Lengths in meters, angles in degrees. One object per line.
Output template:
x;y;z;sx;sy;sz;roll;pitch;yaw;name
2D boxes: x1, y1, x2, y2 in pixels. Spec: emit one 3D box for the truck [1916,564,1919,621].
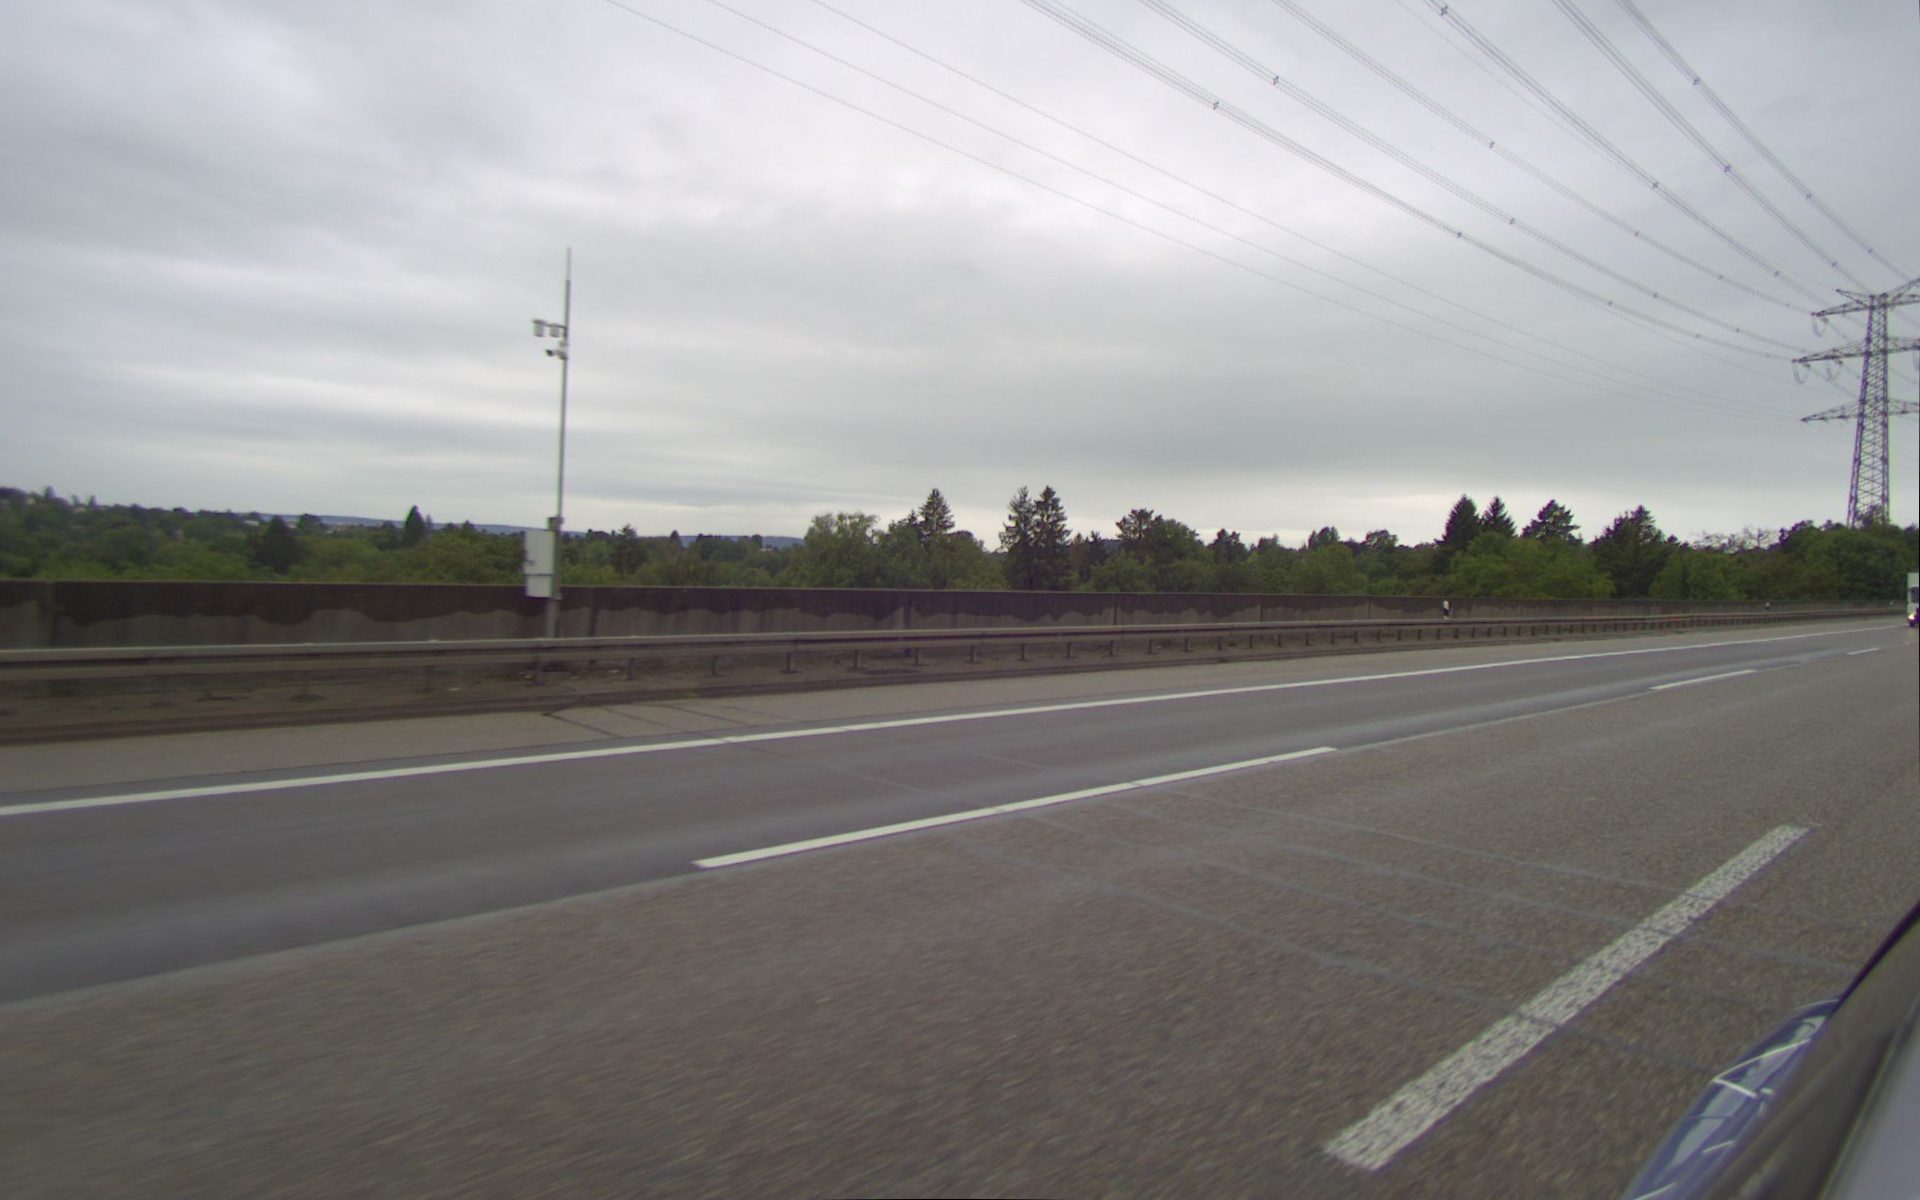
60.233;-0.408;61.310;6.809;3.386;2.648;0;1;-41;truck
